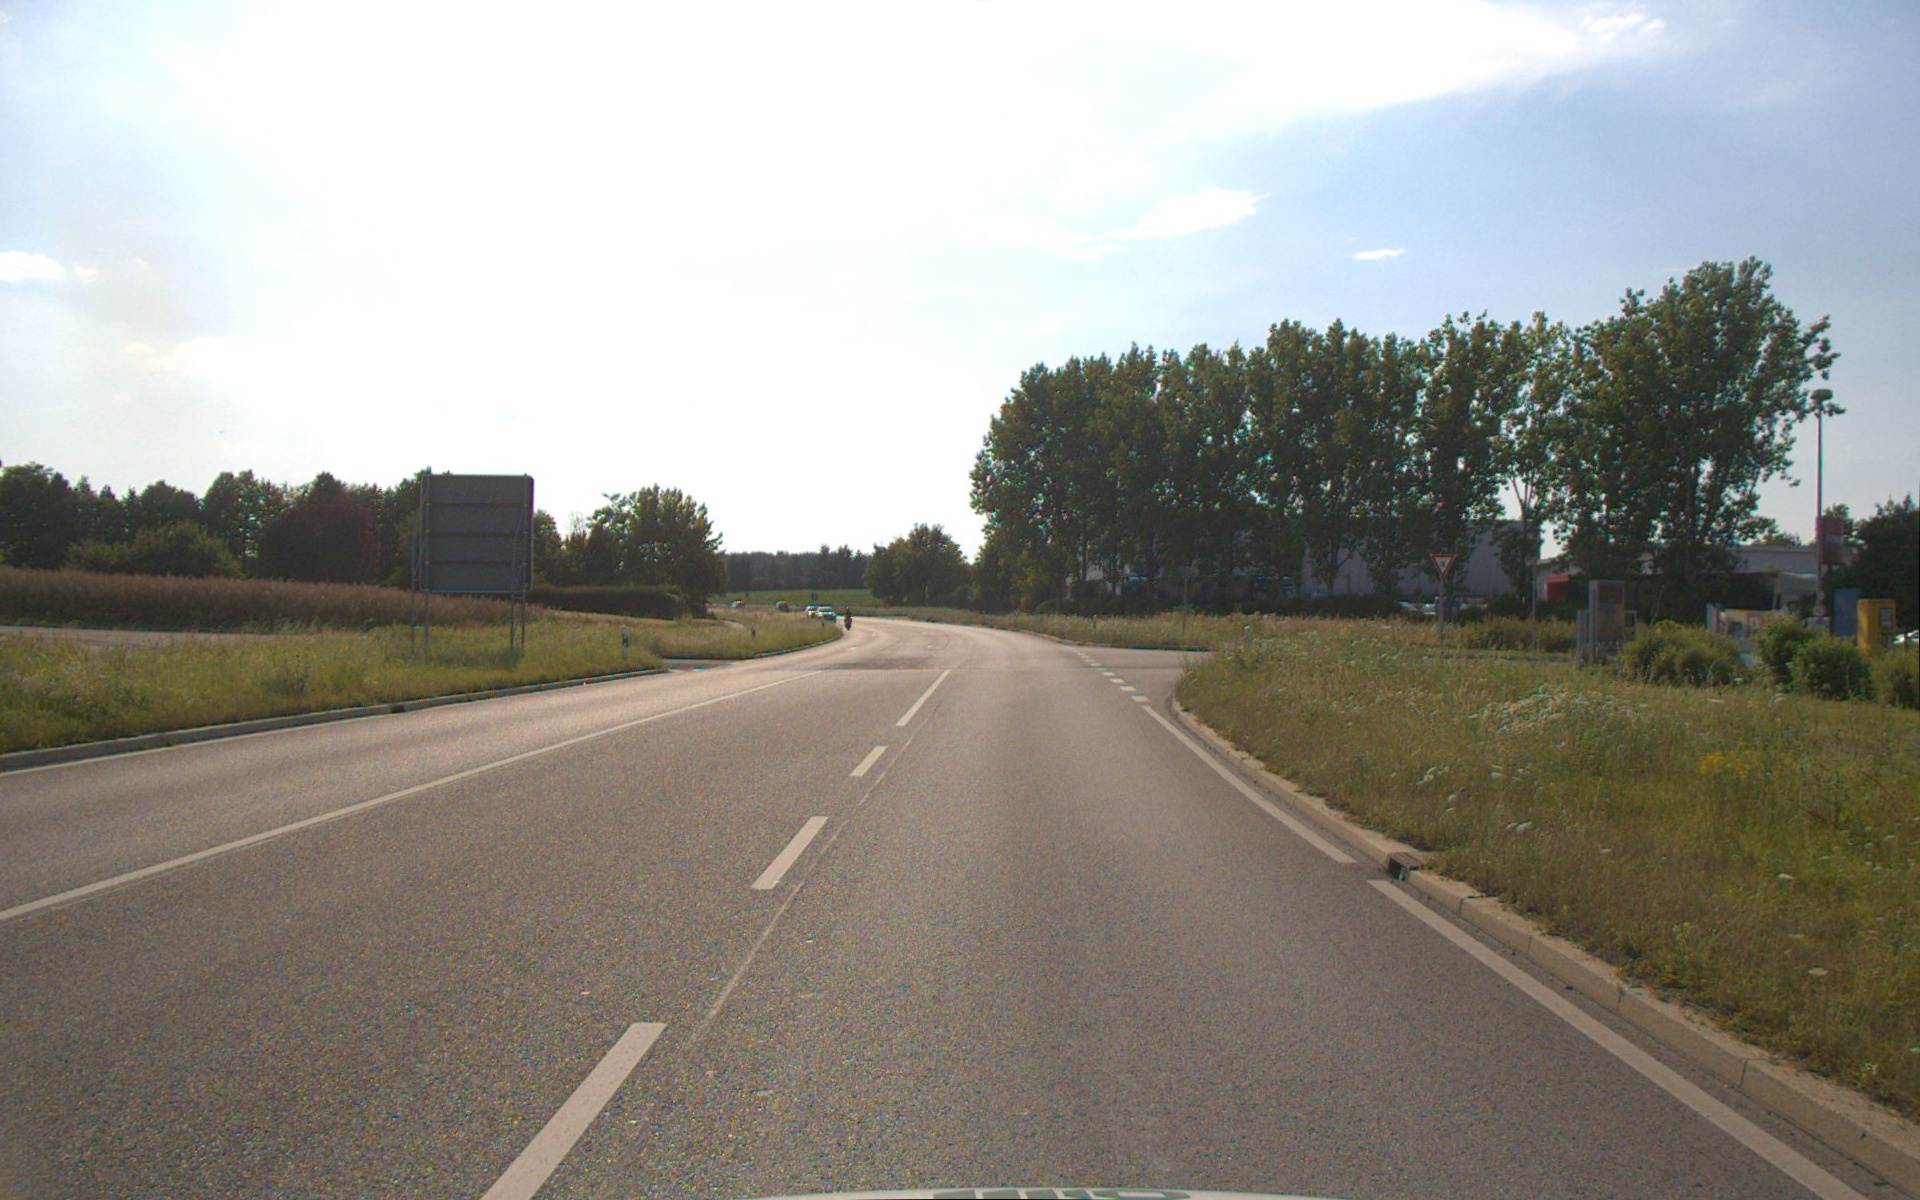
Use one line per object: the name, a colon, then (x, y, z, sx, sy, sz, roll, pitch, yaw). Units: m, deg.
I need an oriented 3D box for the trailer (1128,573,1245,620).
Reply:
trailer: (17.980, -0.197, 132.595, 2.649, 3.197, 13.165, 3, -3, -24)

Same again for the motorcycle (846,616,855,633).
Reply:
motorcycle: (-8.341, 1.875, 125.981, 0.573, 1.283, 2.119, 3, -2, -2)

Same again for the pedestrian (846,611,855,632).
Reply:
pedestrian: (-8.339, 1.655, 126.038, 0.554, 1.531, 0.864, 3, -1, -2)

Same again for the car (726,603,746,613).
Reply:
car: (-31.696, 1.125, 234.022, 1.826, 1.432, 3.617, 3, -2, -24)

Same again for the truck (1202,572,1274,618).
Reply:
truck: (21.112, -0.341, 125.707, 2.587, 3.217, 5.664, 3, -3, -25)

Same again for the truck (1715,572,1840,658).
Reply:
truck: (39.944, 0.716, 80.926, 2.217, 3.984, 5.072, 3, -2, -27)

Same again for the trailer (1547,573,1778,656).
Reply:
trailer: (36.901, 0.734, 87.851, 2.212, 3.984, 13.629, 3, -1, -22)

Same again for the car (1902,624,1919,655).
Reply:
car: (46.108, 1.887, 77.659, 1.535, 1.402, 3.117, 3, -1, -15)

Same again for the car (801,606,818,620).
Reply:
car: (-15.970, 1.360, 175.426, 1.651, 1.372, 3.630, 3, 0, -4)

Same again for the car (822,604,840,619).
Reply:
car: (-12.464, 1.091, 159.548, 1.651, 1.372, 3.997, -1, 0, -4)

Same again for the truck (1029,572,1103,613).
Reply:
truck: (9.339, -0.606, 146.724, 2.477, 3.435, 9.618, 3, -1, -22)

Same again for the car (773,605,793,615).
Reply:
car: (-22.815, 1.288, 213.046, 1.936, 1.171, 3.850, 3, -1, -16)
